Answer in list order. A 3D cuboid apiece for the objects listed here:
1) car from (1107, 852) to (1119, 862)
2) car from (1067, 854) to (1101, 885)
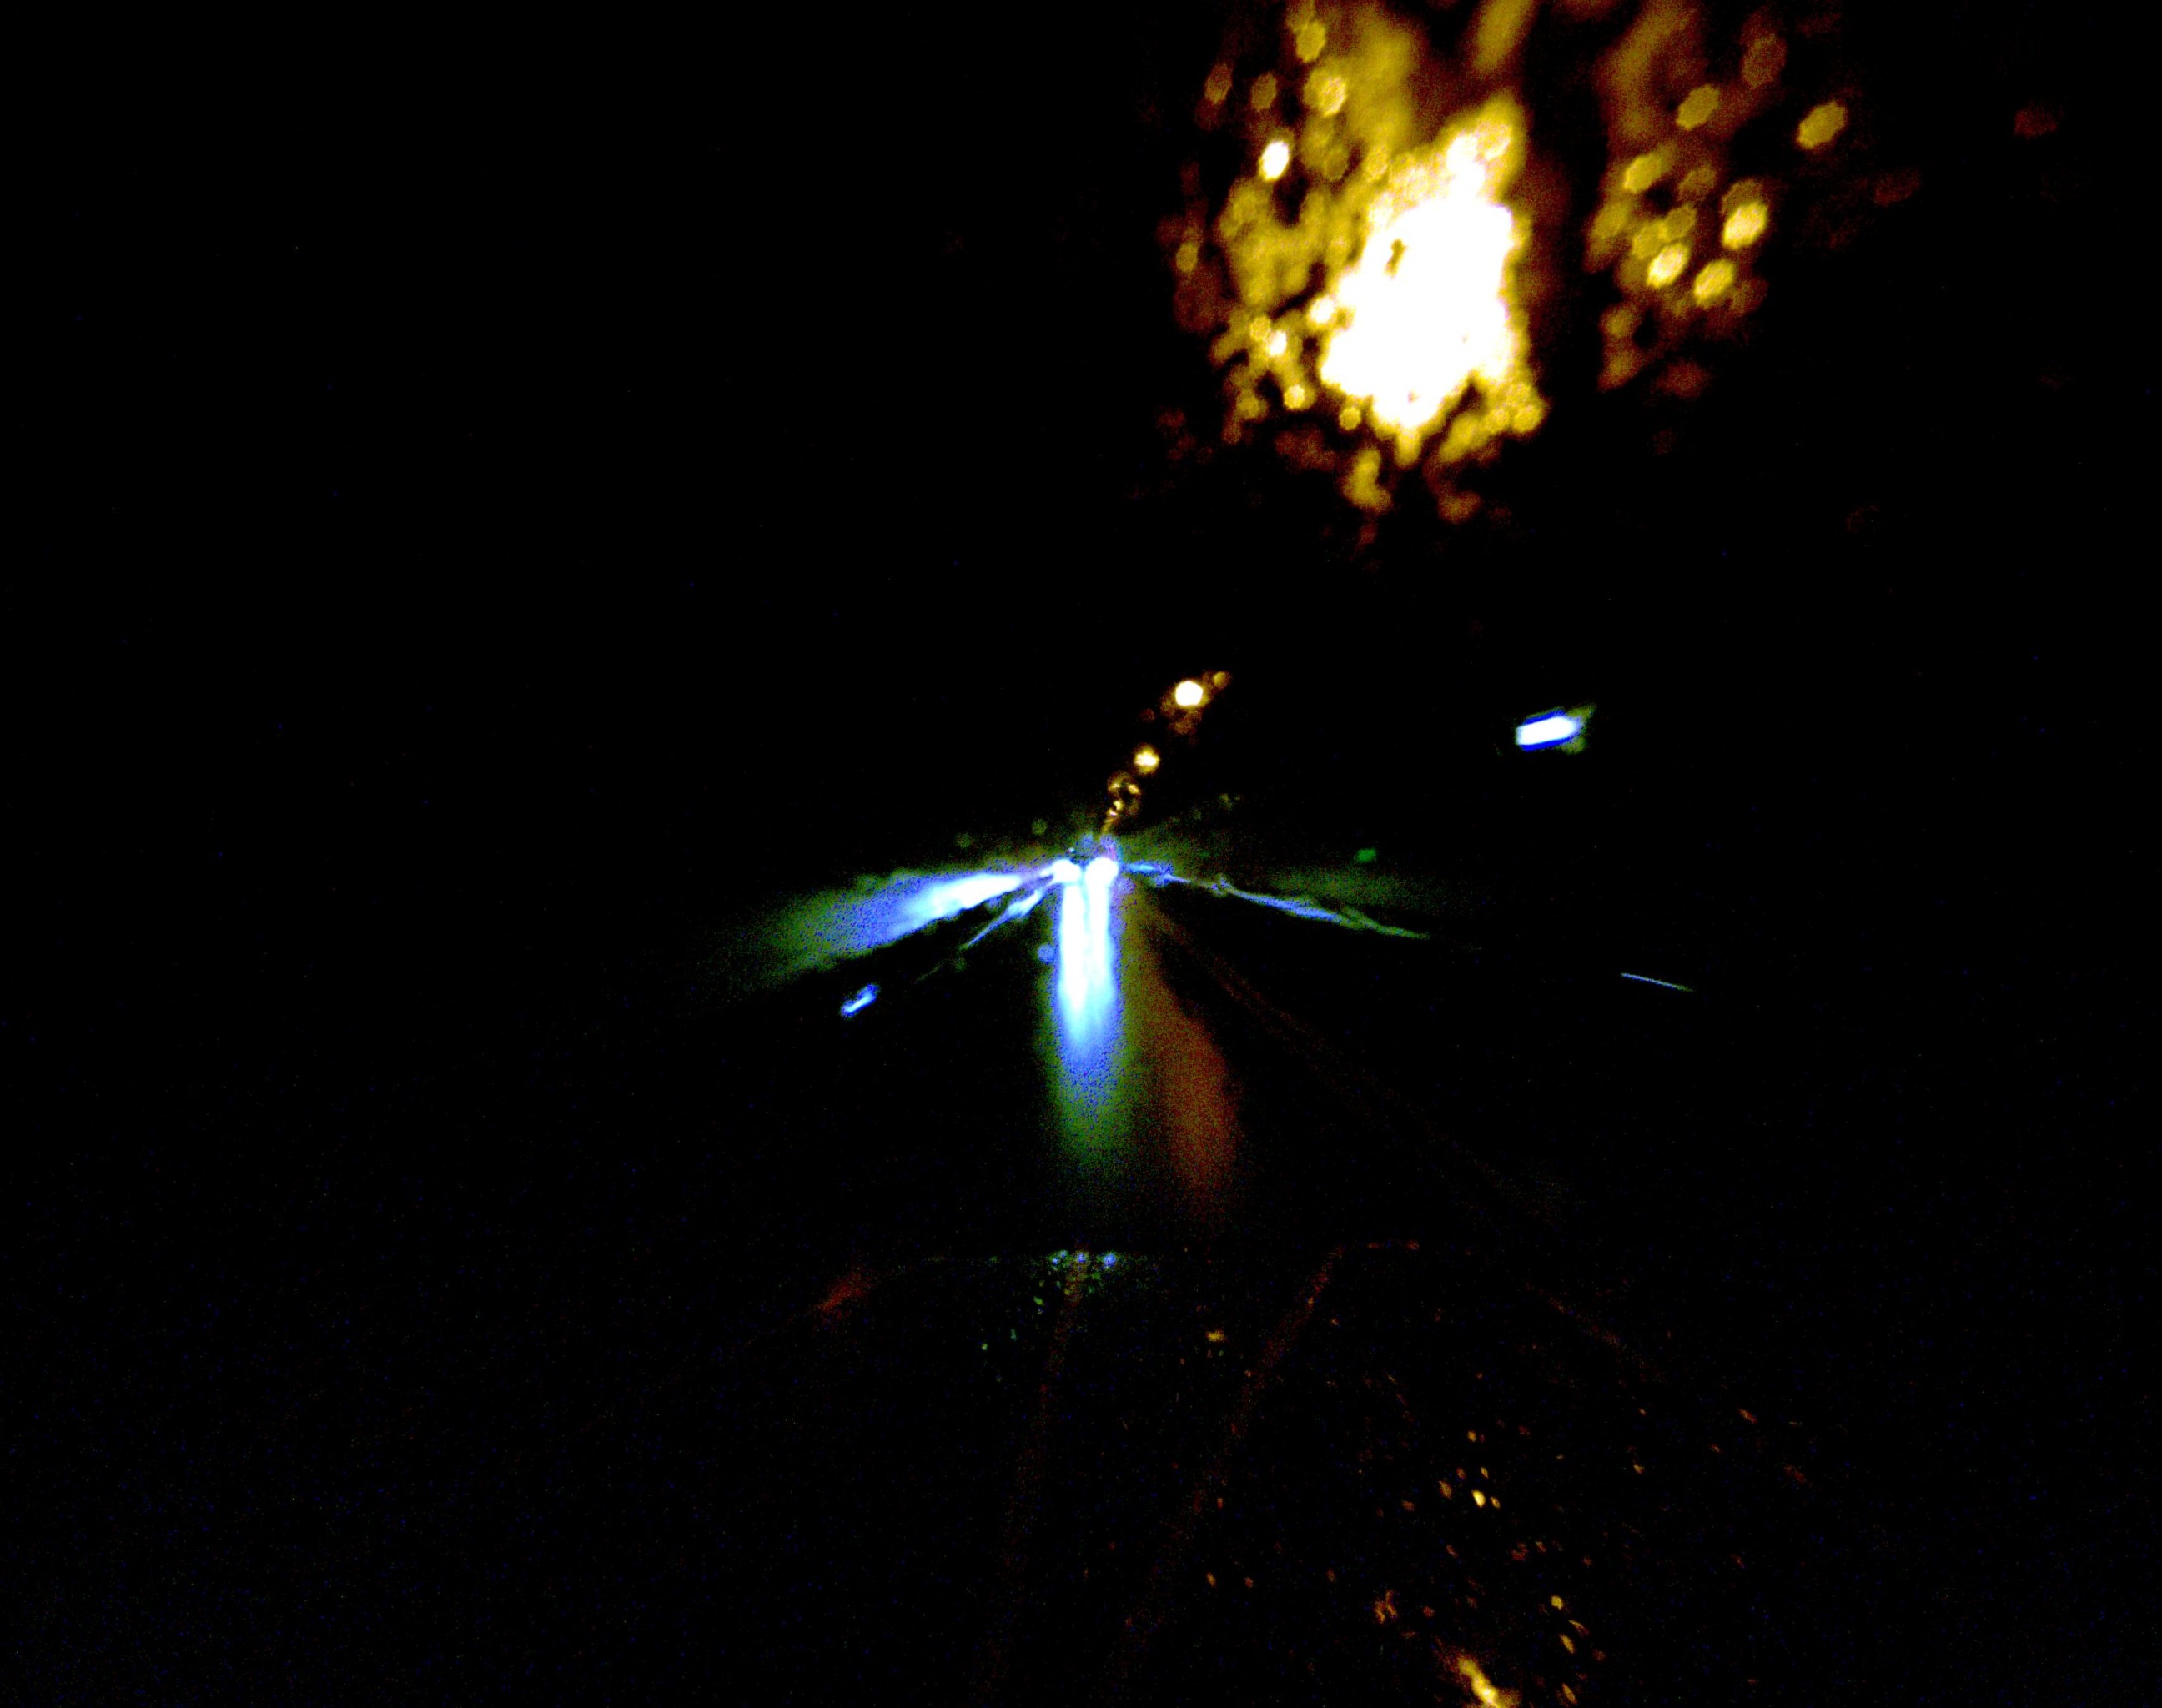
[{"bbox_3d":[5.200,0.532,123.517,1.888,1.595,4.001,-1,0,3],"label":"car"},{"bbox_3d":[0.234,0.847,42.329,1.730,1.595,4.000,-1,0,2],"label":"car"}]
